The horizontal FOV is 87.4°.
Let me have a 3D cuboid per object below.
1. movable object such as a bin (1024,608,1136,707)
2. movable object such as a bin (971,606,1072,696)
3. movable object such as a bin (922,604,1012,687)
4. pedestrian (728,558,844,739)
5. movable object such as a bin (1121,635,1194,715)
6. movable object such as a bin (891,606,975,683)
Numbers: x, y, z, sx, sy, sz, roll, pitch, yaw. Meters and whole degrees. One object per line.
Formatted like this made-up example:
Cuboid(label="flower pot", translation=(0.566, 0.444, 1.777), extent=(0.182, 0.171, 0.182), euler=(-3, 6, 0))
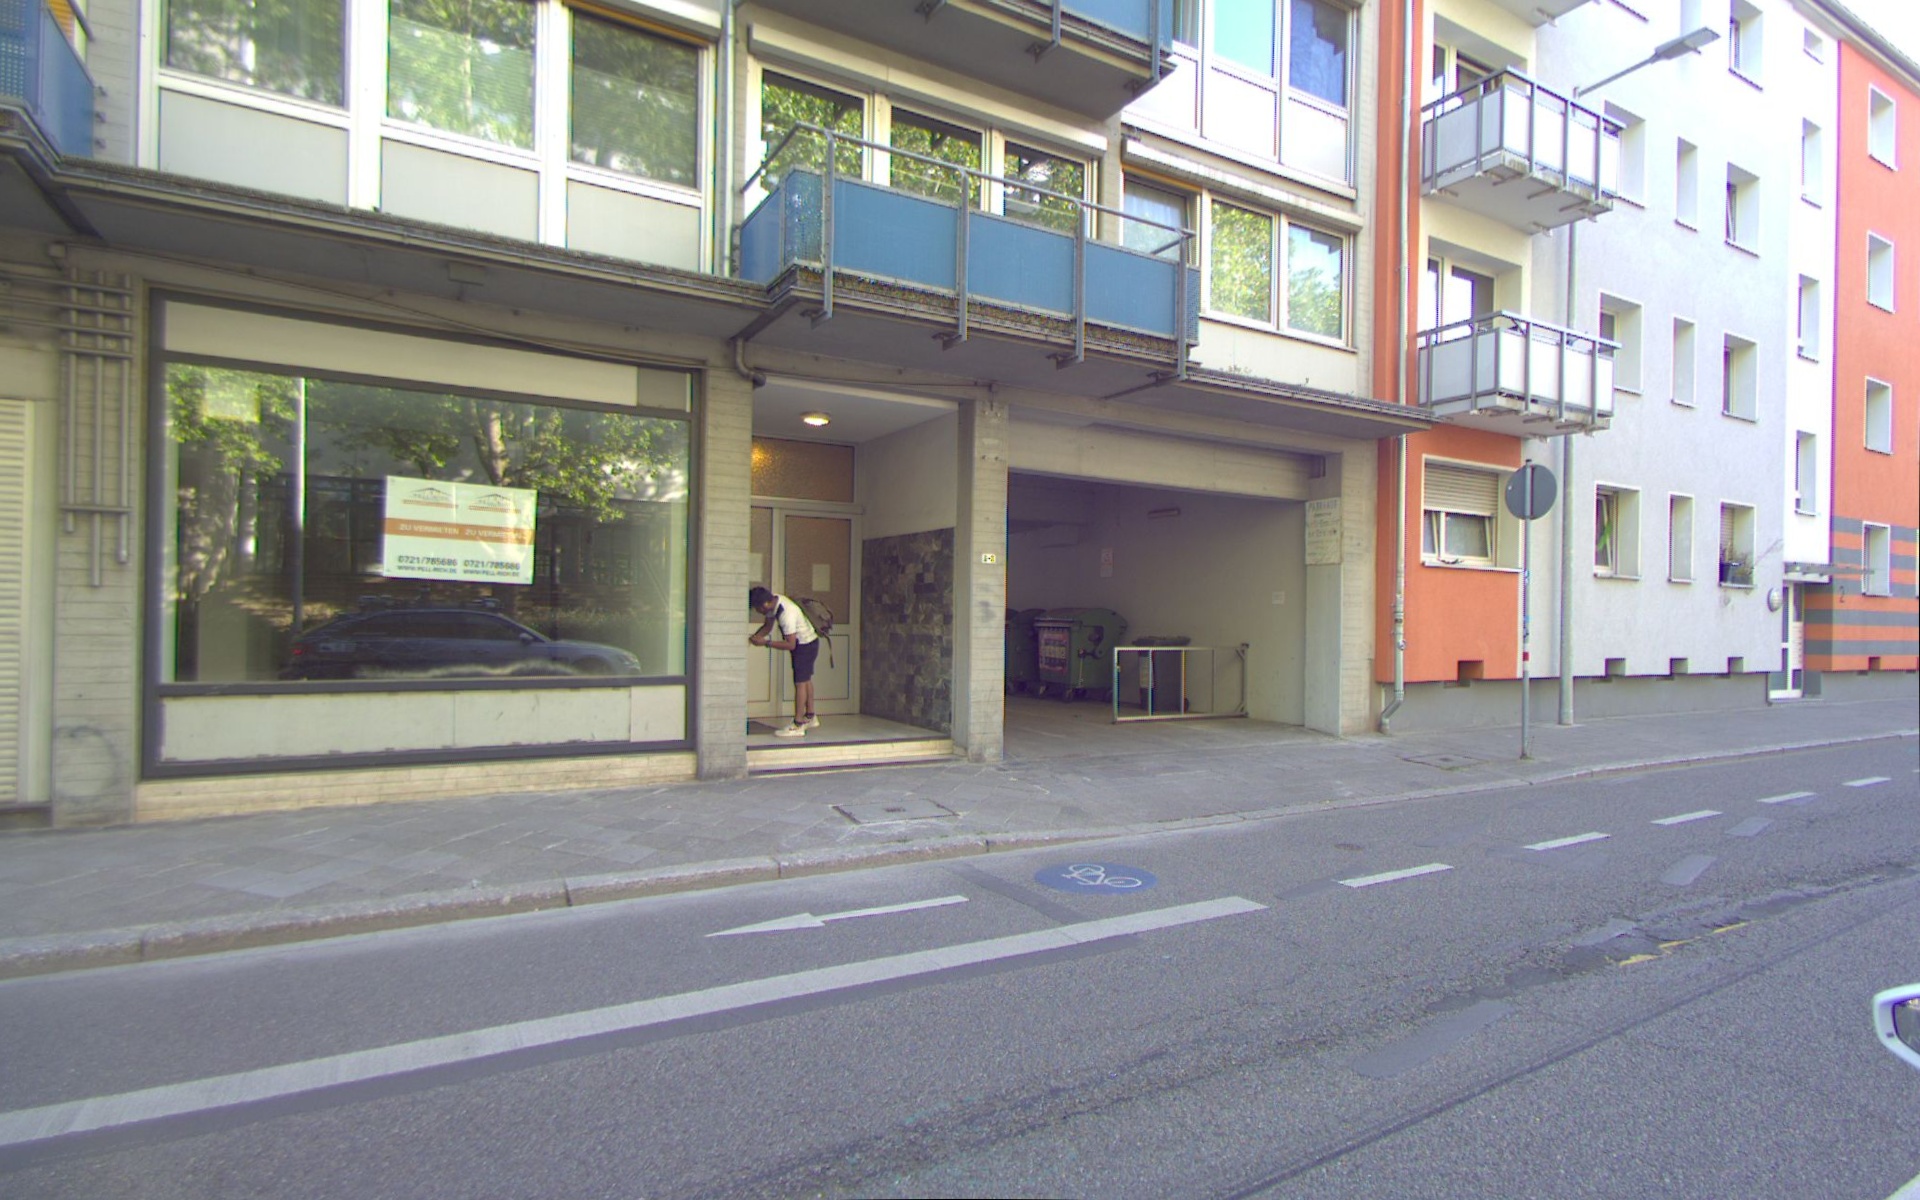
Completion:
Cuboid(label="movable object such as a bin", translation=(1.872, 0.870, 15.800), extent=(1.182, 1.452, 1.300), euler=(2, 0, -30))
Cuboid(label="movable object such as a bin", translation=(1.032, 0.852, 17.187), extent=(1.182, 1.452, 1.300), euler=(2, 0, -30))
Cuboid(label="movable object such as a bin", translation=(0.119, 0.833, 18.761), extent=(1.182, 1.452, 1.300), euler=(2, 0, -30))
Cuboid(label="pedestrian", translation=(-1.619, 0.440, 9.358), extent=(0.914, 1.606, 0.561), euler=(1, 0, -29))
Cuboid(label="movable object such as a bin", translation=(2.849, 1.064, 14.517), extent=(0.707, 1.089, 0.735), euler=(2, 0, -30))
Cuboid(label="movable object such as a bin", translation=(-0.549, 0.864, 19.925), extent=(1.182, 1.452, 1.300), euler=(2, 0, -30))
